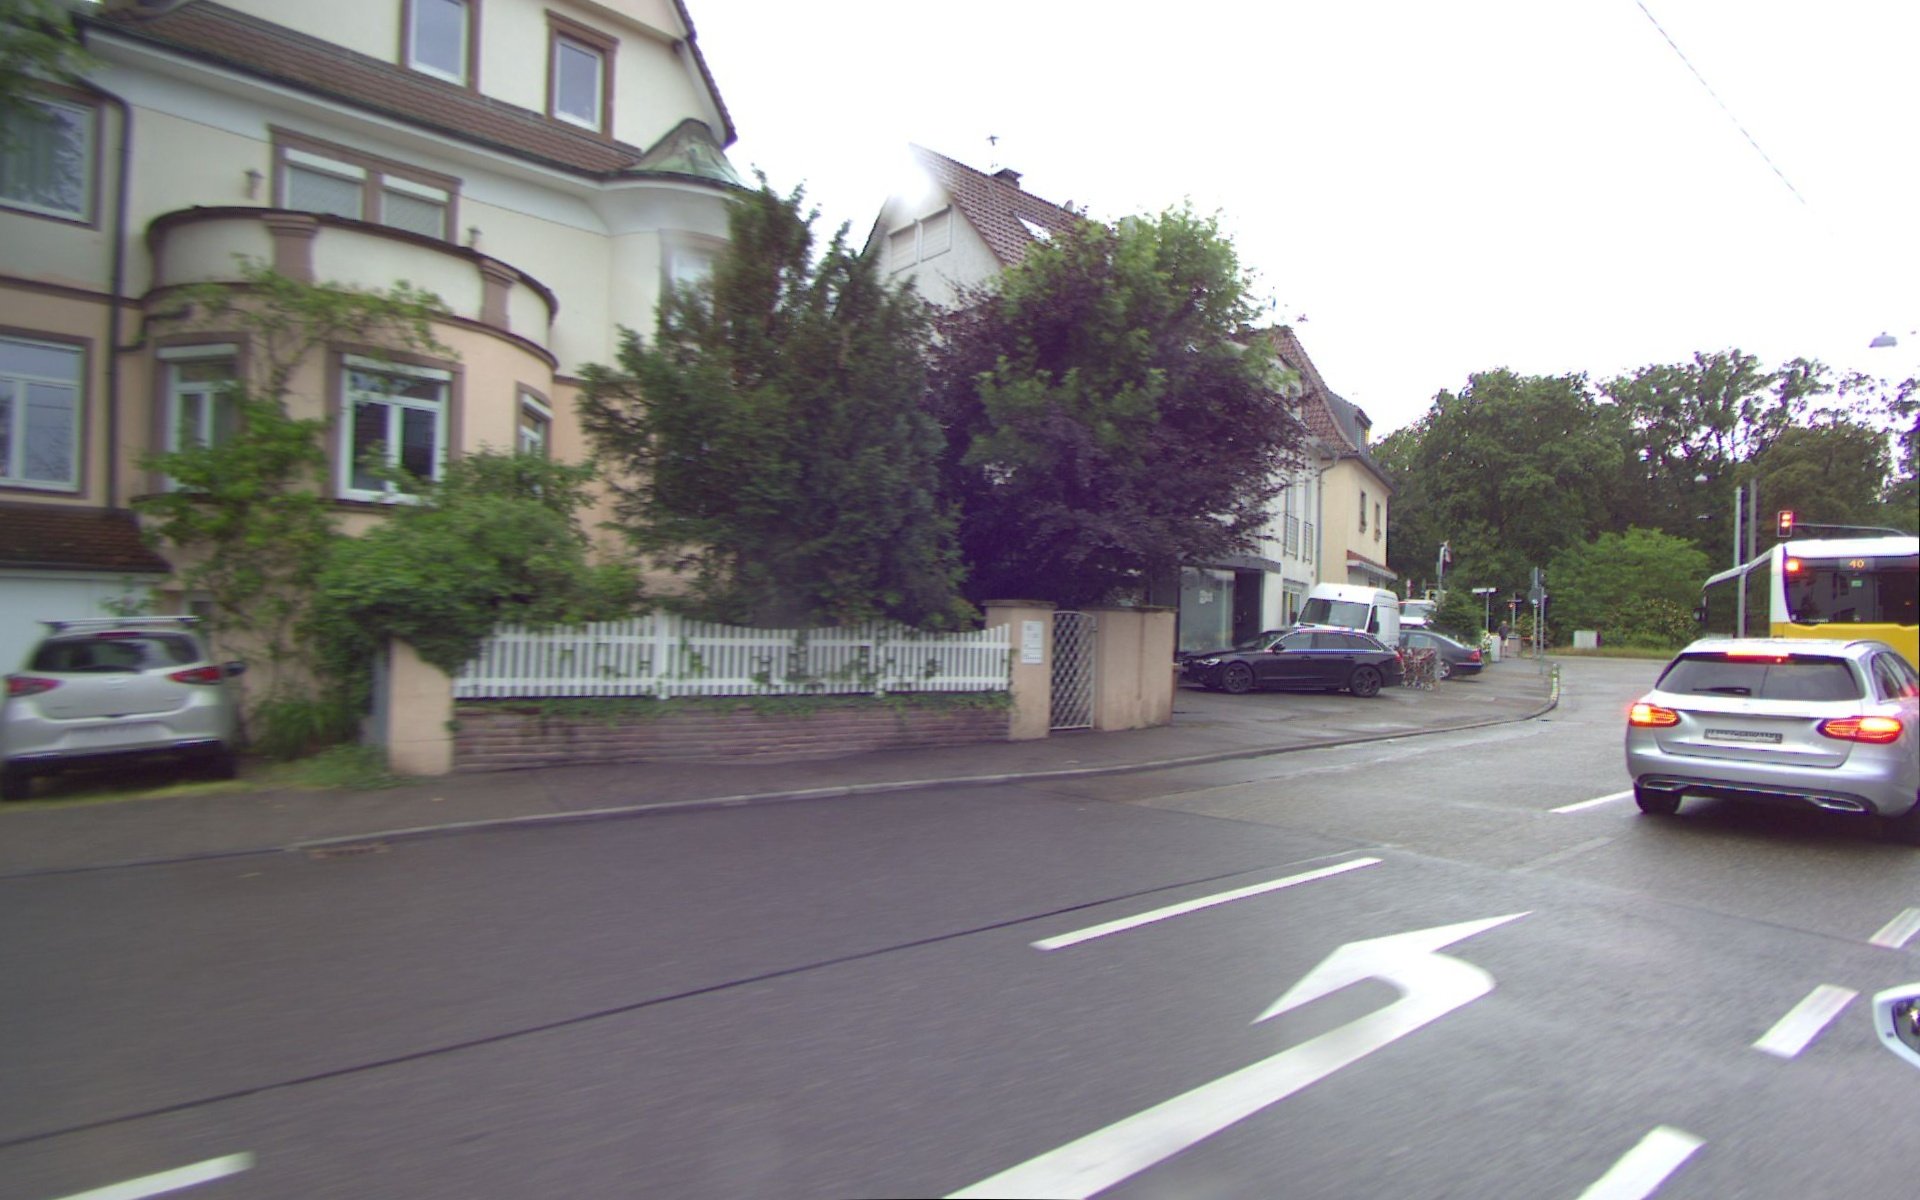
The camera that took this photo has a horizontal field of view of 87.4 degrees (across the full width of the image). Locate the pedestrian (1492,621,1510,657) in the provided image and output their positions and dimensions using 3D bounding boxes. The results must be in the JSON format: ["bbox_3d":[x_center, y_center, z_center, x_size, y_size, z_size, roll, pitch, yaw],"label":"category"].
[{"bbox_3d":[25.462,1.840,47.268,0.587,1.639,0.434,3,0,12],"label":"pedestrian"}]

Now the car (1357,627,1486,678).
[{"bbox_3d":[15.255,1.710,33.392,3.756,1.362,1.803,3,1,22],"label":"car"}]

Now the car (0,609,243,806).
[{"bbox_3d":[-8.208,0.916,9.963,1.694,1.561,3.555,-1,-1,-37],"label":"car"}]

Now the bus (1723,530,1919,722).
[{"bbox_3d":[18.889,0.548,22.176,2.640,3.443,8.656,1,-1,34],"label":"bus"}]

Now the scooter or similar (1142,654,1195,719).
[{"bbox_3d":[3.328,1.375,16.039,0.584,0.978,0.541,3,-1,-24],"label":"scooter or similar"}]

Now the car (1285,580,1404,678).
[{"bbox_3d":[11.074,0.810,28.677,1.966,2.480,5.479,2,0,33],"label":"car"}]

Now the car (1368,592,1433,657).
[{"bbox_3d":[18.636,1.011,42.339,1.964,2.480,5.485,2,0,29],"label":"car"}]

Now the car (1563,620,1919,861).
[{"bbox_3d":[7.092,0.942,8.624,4.449,1.499,1.977,1,0,-40],"label":"car"}]

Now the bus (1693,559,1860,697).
[{"bbox_3d":[23.703,0.783,29.630,2.859,3.443,9.016,1,-1,33],"label":"bus"}]

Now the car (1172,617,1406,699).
[{"bbox_3d":[7.254,1.260,22.427,4.593,1.515,1.803,3,1,-3],"label":"car"}]
